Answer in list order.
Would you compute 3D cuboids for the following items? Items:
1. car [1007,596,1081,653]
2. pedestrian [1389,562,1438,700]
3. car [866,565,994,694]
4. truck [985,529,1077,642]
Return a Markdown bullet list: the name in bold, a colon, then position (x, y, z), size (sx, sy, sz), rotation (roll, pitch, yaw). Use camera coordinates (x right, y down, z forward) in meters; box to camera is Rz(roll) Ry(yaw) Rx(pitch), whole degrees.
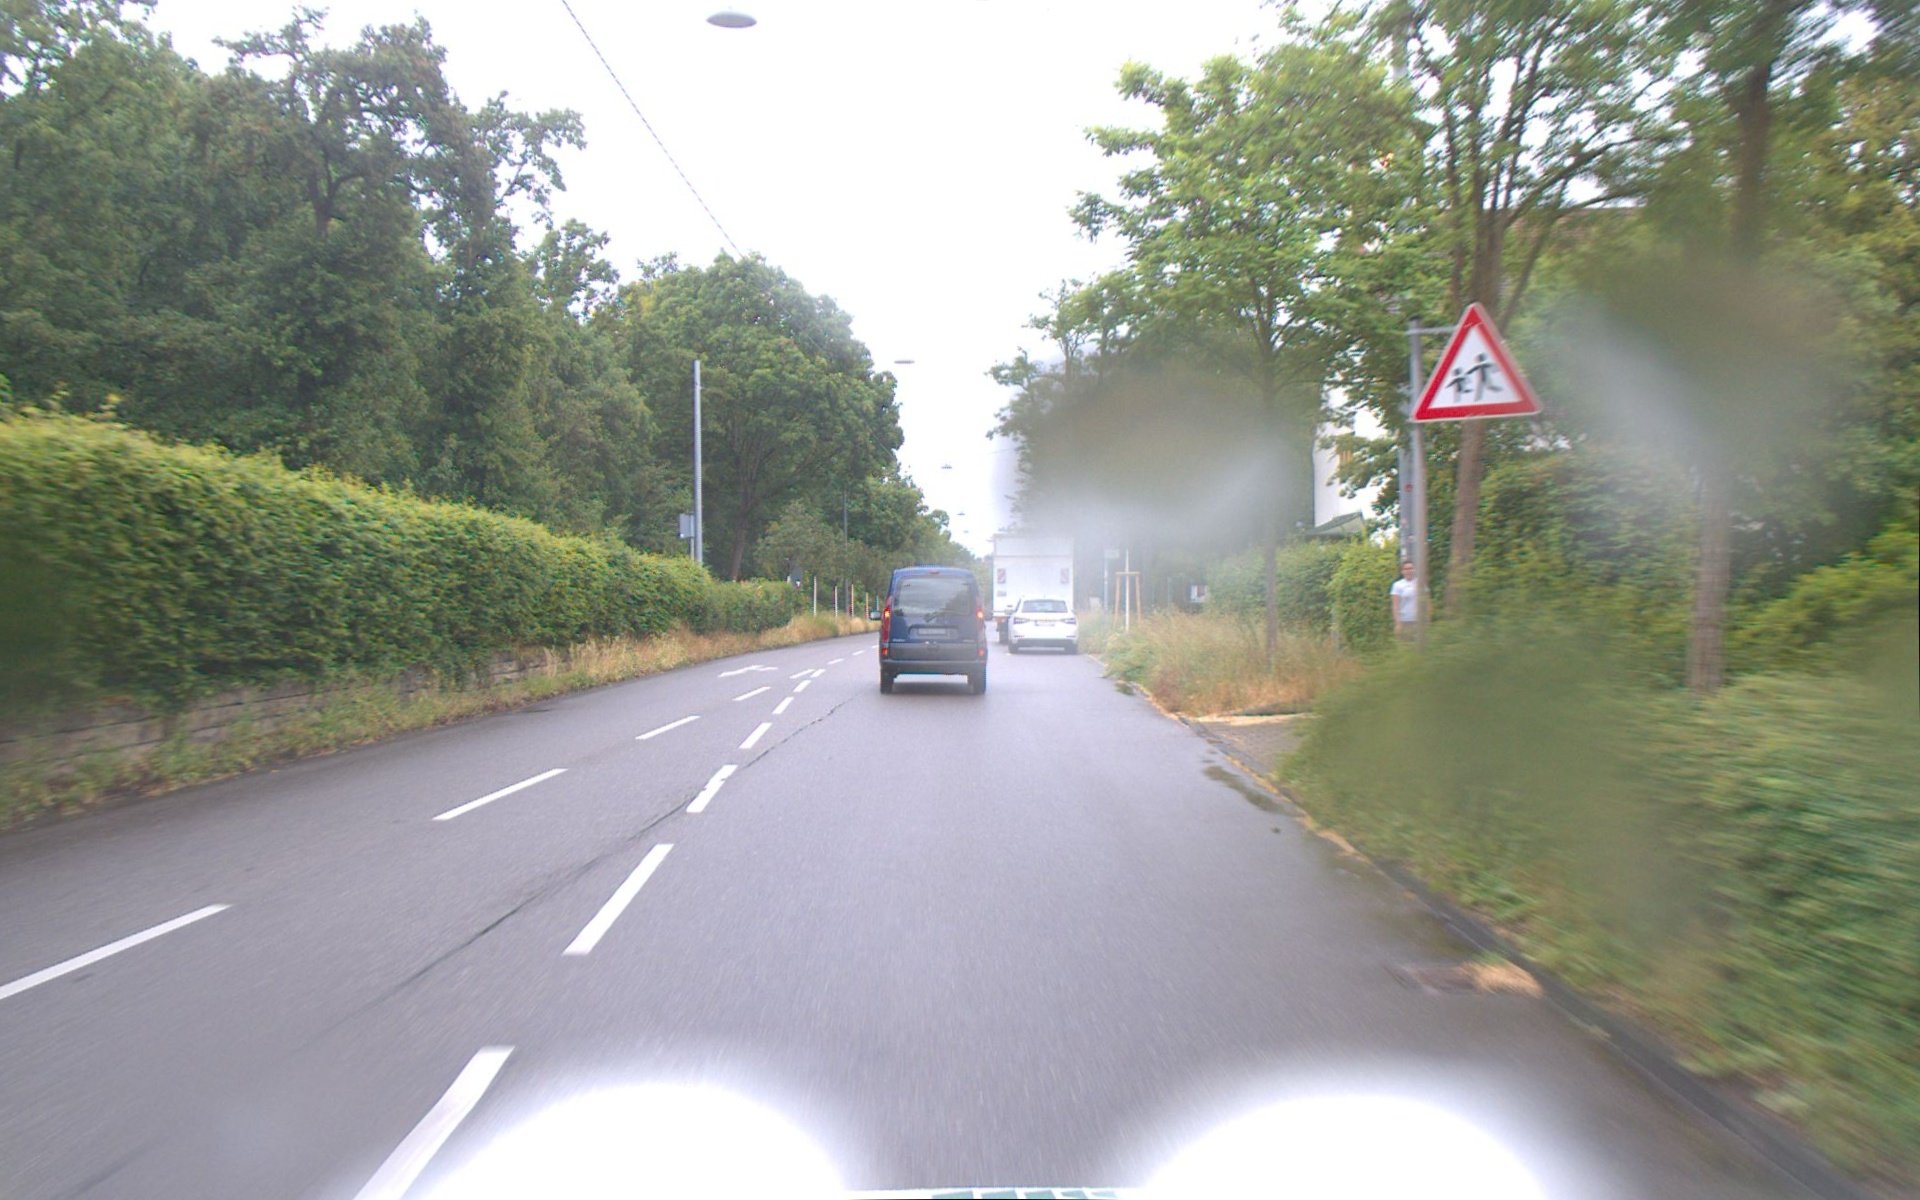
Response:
- **car**: position (2.171, 0.615, 43.783), size (1.776, 1.404, 4.285), rotation (-1, 0, 1)
- **pedestrian**: position (5.820, 0.393, 21.244), size (0.549, 1.738, 0.516), rotation (-1, 0, 10)
- **car**: position (-0.541, 0.422, 25.738), size (1.773, 1.829, 3.997), rotation (-1, 0, -4)
- **truck**: position (2.242, -0.463, 54.585), size (2.676, 3.446, 6.685), rotation (-1, 0, 0)
